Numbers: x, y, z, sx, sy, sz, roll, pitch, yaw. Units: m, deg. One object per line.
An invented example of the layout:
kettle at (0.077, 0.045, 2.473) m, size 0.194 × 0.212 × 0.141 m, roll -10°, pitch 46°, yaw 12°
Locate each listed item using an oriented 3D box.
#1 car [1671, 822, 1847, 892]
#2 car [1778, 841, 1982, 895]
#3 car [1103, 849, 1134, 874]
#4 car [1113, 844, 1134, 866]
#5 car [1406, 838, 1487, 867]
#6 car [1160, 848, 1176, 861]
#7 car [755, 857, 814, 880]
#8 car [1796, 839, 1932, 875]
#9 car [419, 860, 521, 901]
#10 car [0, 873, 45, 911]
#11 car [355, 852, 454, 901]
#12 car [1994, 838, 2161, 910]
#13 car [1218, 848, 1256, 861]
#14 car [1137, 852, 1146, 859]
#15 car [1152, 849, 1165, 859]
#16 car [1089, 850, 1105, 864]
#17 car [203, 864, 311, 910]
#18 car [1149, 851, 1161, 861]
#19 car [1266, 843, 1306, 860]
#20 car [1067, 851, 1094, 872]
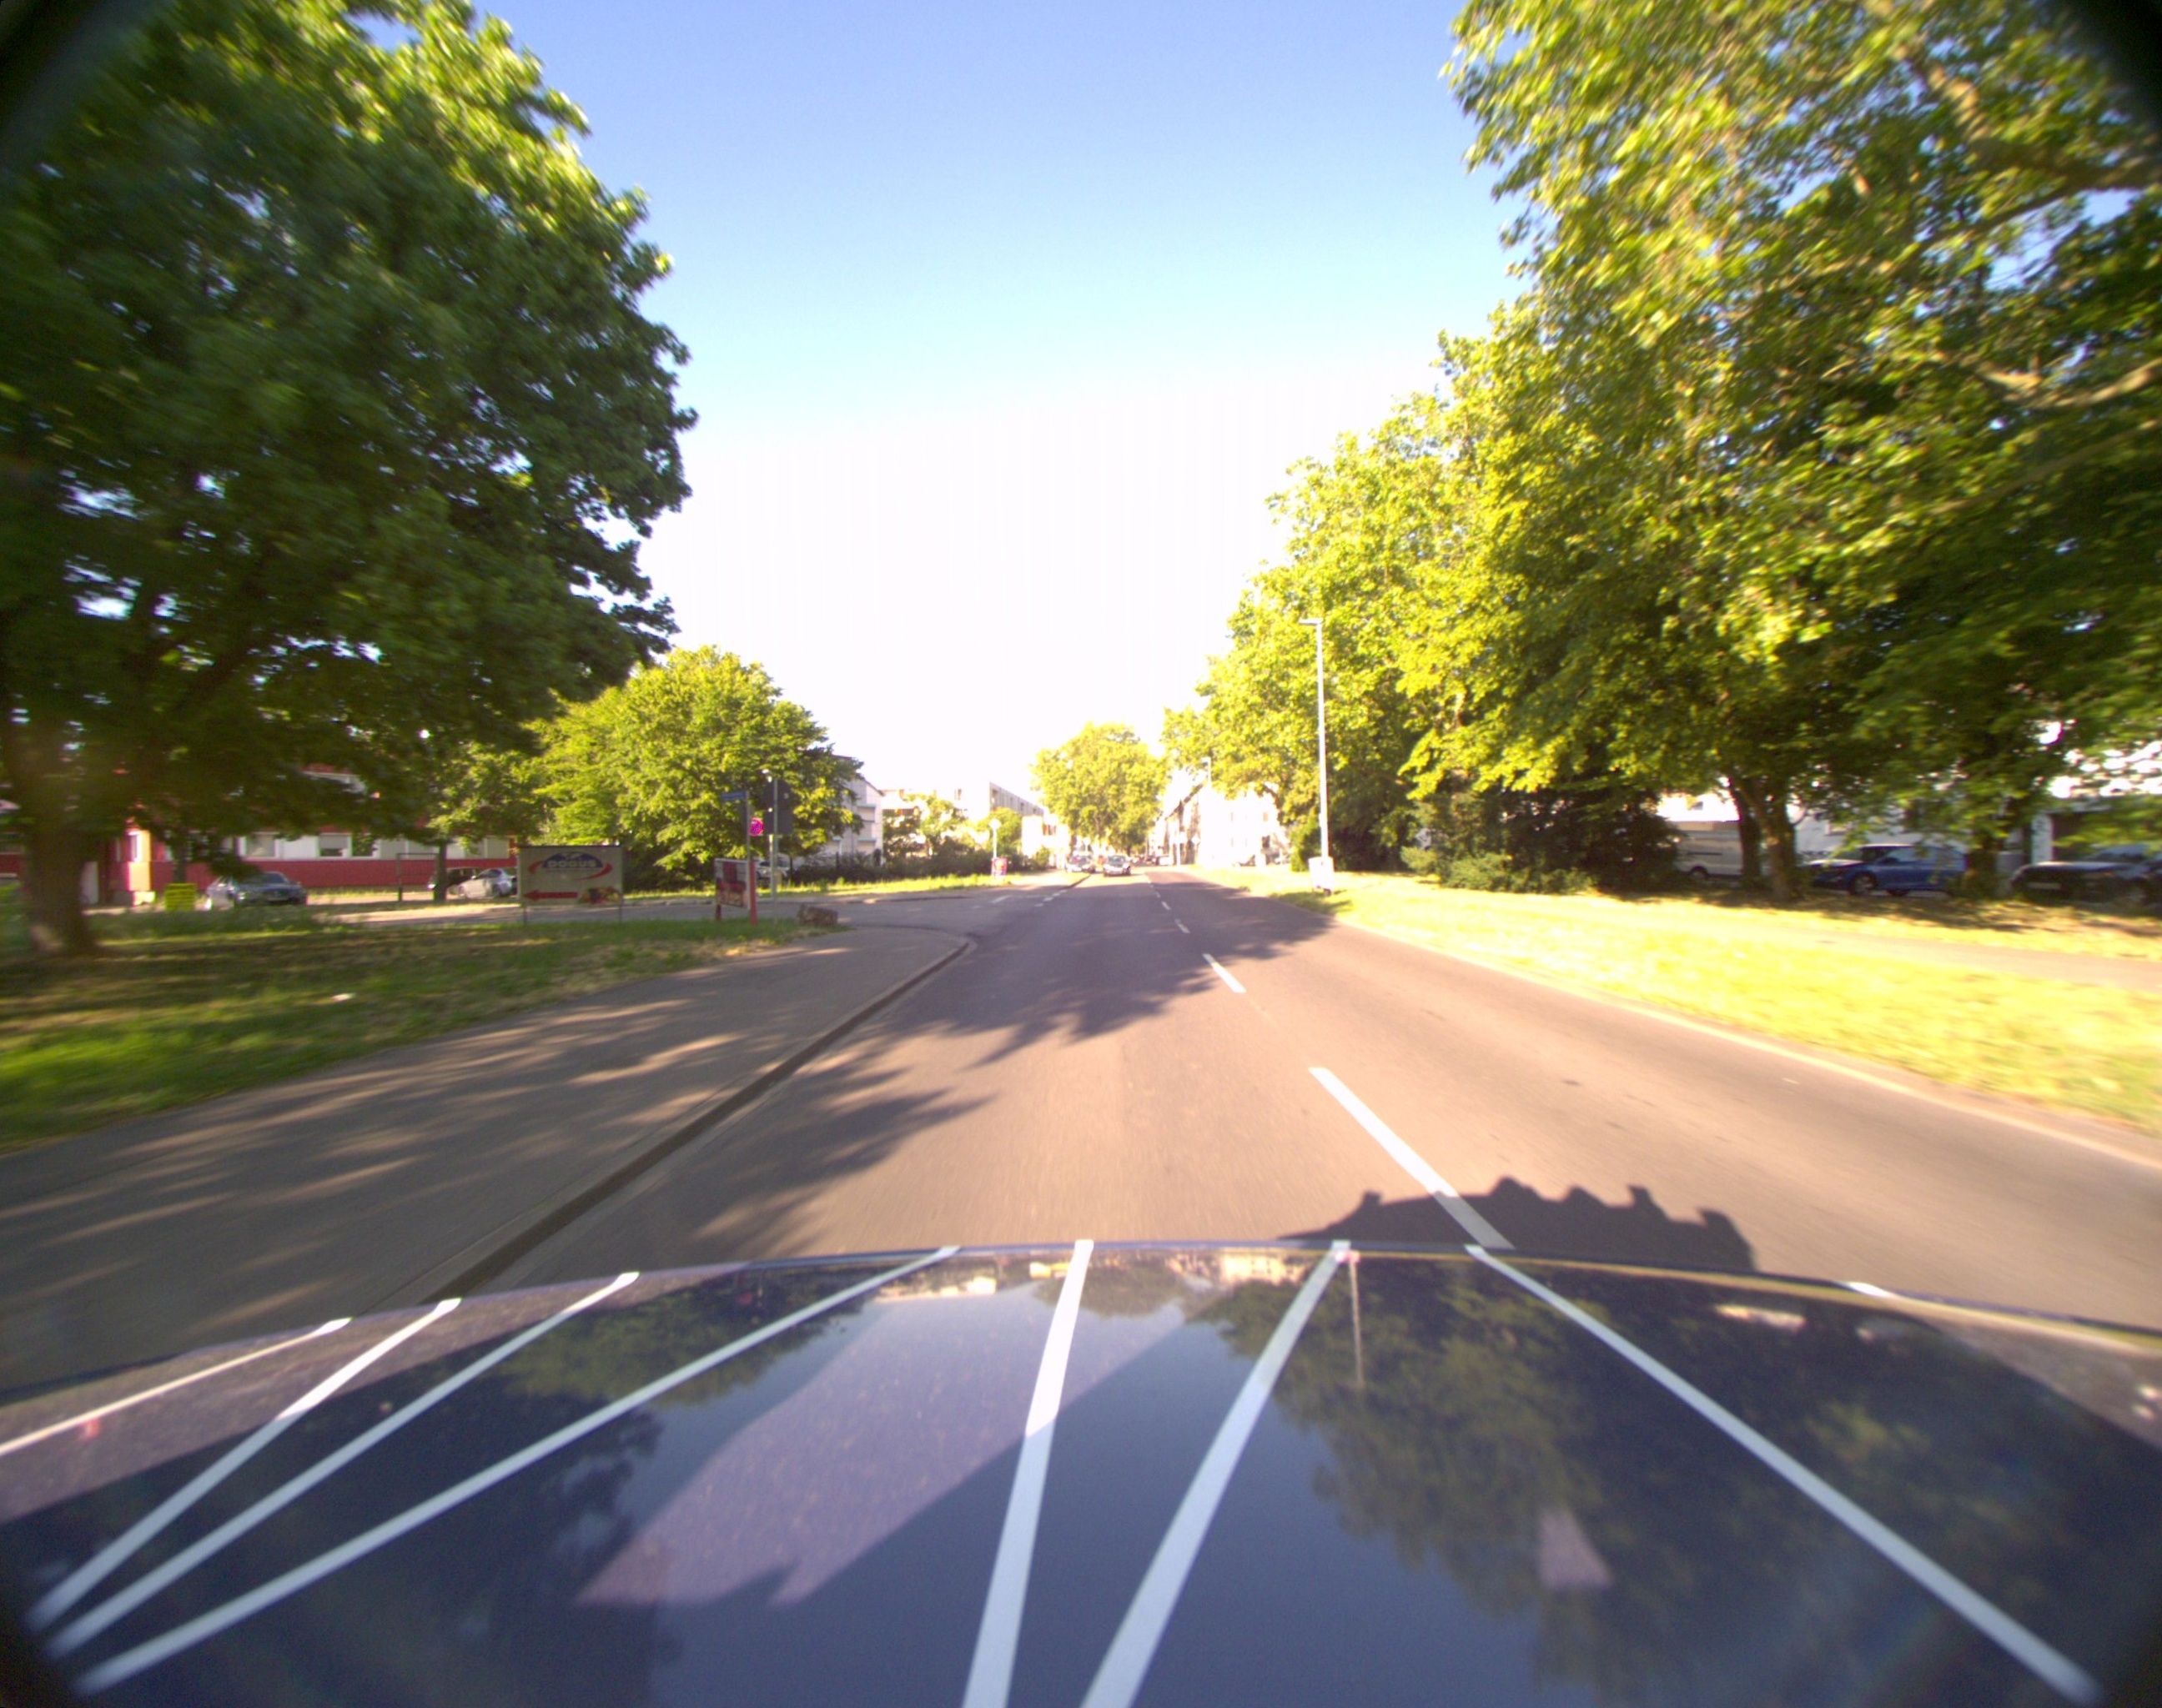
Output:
car at (21.589, 0.118, 24.293) m, size 3.999 × 2.032 × 1.908 m, roll -2°, pitch -1°, yaw -5°
car at (21.984, 0.368, 21.005) m, size 3.940 × 1.374 × 1.692 m, roll -1°, pitch 0°, yaw -1°
car at (2.460, 0.463, 50.361) m, size 1.869 × 1.471 × 4.087 m, roll -3°, pitch 0°, yaw 2°
car at (4.071, 0.059, 73.603) m, size 1.934 × 2.002 × 4.000 m, roll -1°, pitch 1°, yaw 3°
car at (21.941, -0.097, 45.726) m, size 3.997 × 1.674 × 1.727 m, roll 1°, pitch 1°, yaw 0°
car at (10.690, 0.083, 93.568) m, size 1.765 × 1.475 × 4.110 m, roll -3°, pitch 0°, yaw 5°
car at (-22.557, 1.076, 57.775) m, size 3.989 × 1.565 × 1.912 m, roll 0°, pitch 2°, yaw 26°
car at (34.717, 0.123, 33.770) m, size 3.996 × 1.543 × 1.925 m, roll -1°, pitch 1°, yaw 2°
car at (-26.426, 1.133, 32.838) m, size 4.434 × 1.584 × 2.004 m, roll -2°, pitch 1°, yaw 32°
car at (-43.458, 1.592, 30.594) m, size 3.544 × 1.418 × 1.688 m, roll -3°, pitch 0°, yaw 31°
car at (-27.005, 0.865, 30.294) m, size 4.433 × 1.807 × 1.710 m, roll 0°, pitch 1°, yaw 32°
car at (21.649, 0.374, 15.748) m, size 3.490 × 1.374 × 1.692 m, roll -1°, pitch 0°, yaw -1°
car at (17.089, 0.063, 83.123) m, size 3.992 × 1.409 × 1.917 m, roll -1°, pitch -1°, yaw 16°
car at (13.080, 0.298, 164.536) m, size 1.900 × 1.581 × 4.071 m, roll 0°, pitch 0°, yaw 5°
car at (12.071, 0.051, 118.335) m, size 1.869 × 1.475 × 4.088 m, roll -2°, pitch 0°, yaw 6°
car at (1.958, 0.388, 91.266) m, size 1.601 × 1.680 × 4.338 m, roll 0°, pitch 0°, yaw 5°
car at (-30.108, 1.232, 27.736) m, size 4.656 × 1.467 × 1.792 m, roll -3°, pitch 0°, yaw 32°
car at (13.032, 0.307, 134.446) m, size 1.869 × 1.603 × 4.087 m, roll -2°, pitch 0°, yaw 2°
car at (22.015, -0.251, 81.502) m, size 3.992 × 1.552 × 1.866 m, roll -3°, pitch 1°, yaw 16°
car at (0.007, 0.562, 58.520) m, size 1.786 × 1.506 × 4.690 m, roll 0°, pitch 1°, yaw 3°
